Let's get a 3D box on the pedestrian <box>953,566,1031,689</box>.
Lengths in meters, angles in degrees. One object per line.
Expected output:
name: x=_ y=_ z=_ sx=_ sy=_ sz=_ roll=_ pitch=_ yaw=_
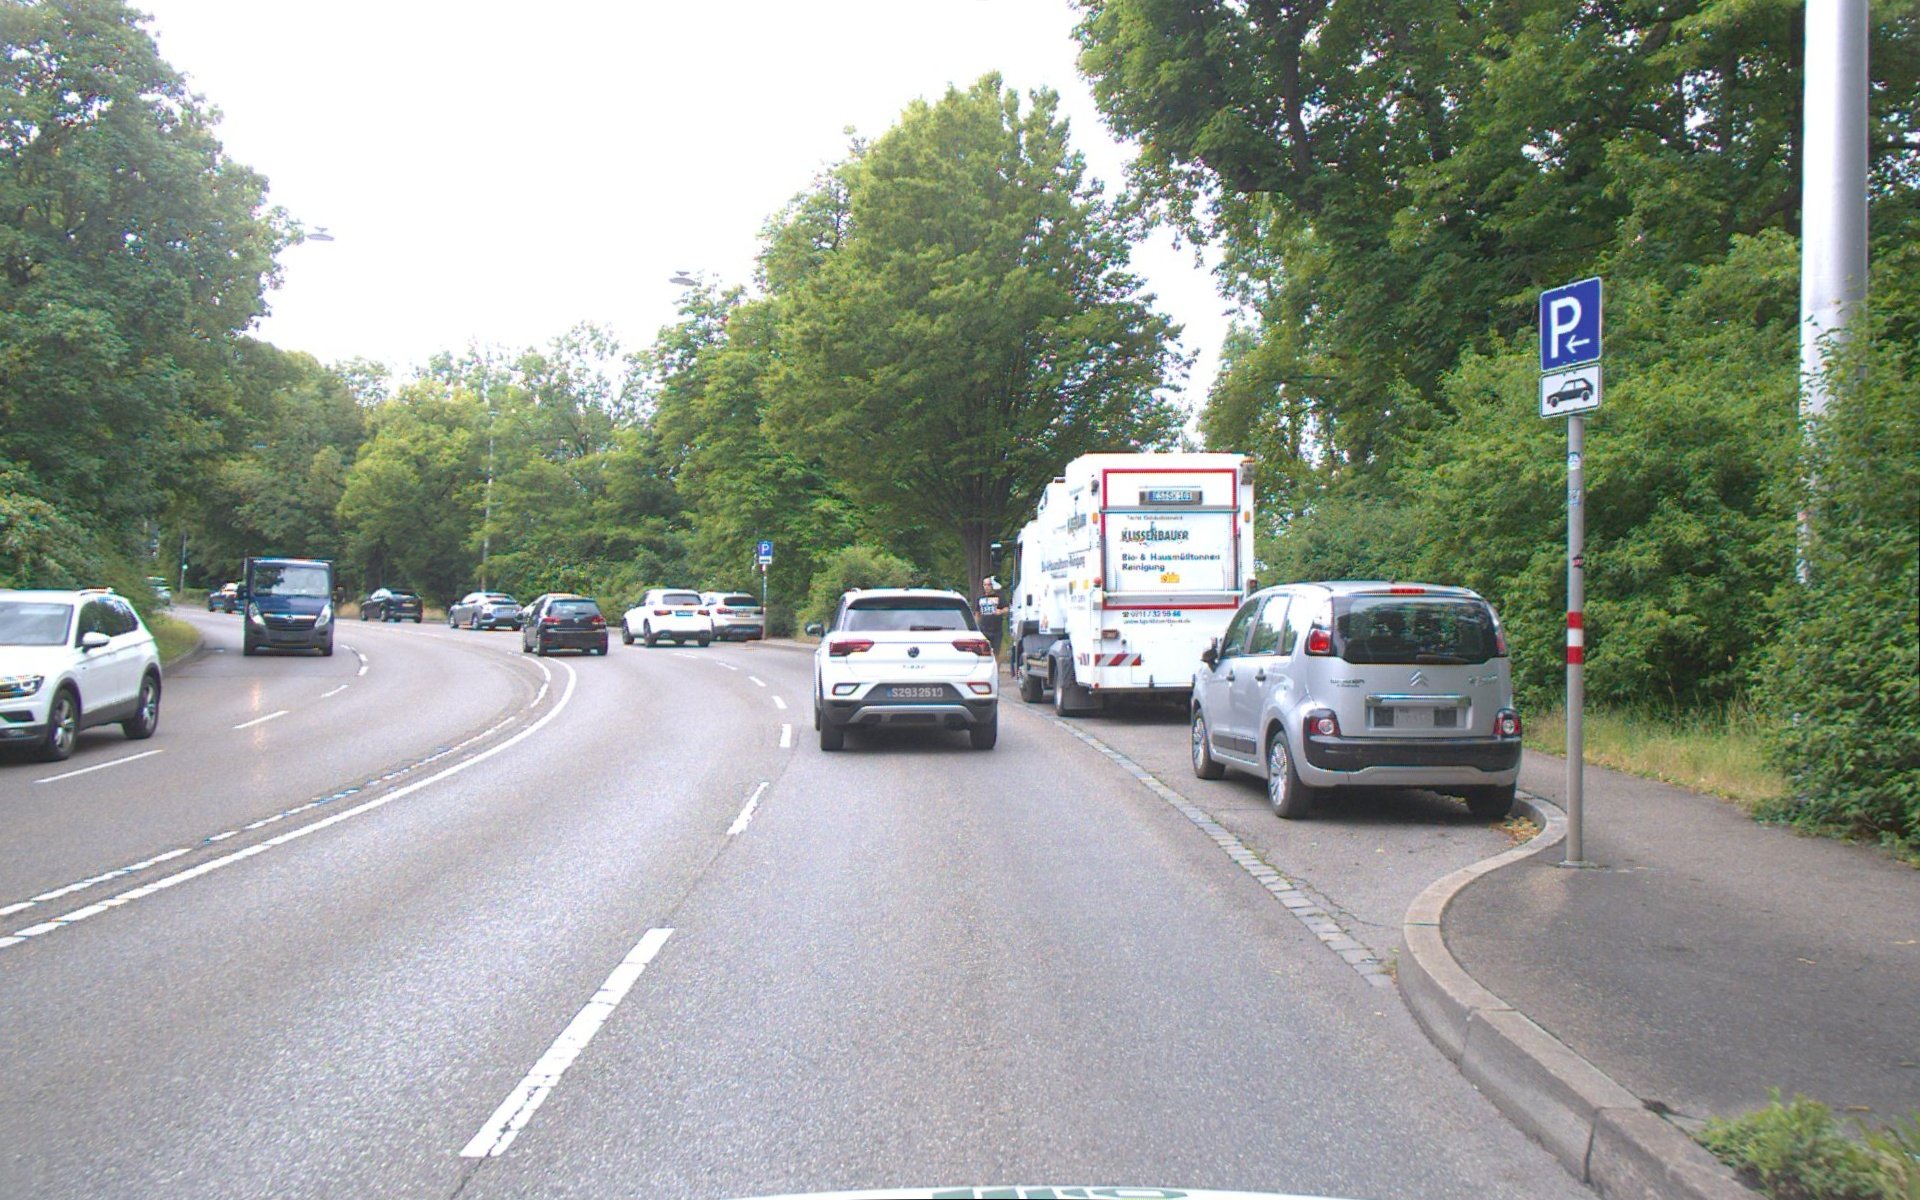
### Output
pedestrian: x=0.524 y=0.465 z=27.777 sx=0.900 sy=1.862 sz=0.984 roll=12 pitch=-1 yaw=-1

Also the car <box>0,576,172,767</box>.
car: x=-9.666 y=0.700 z=17.146 sx=1.825 sy=1.724 sz=4.418 roll=-2 pitch=0 yaw=-15

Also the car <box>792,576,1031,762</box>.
car: x=-0.638 y=0.645 z=17.332 sx=1.964 sy=1.624 sz=3.992 roll=3 pitch=-1 yaw=-9

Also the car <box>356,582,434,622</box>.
car: x=-24.475 y=0.098 z=71.768 sx=1.953 sy=1.595 sz=3.999 roll=3 pitch=-1 yaw=-1

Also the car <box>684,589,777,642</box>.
car: x=-7.726 y=0.497 z=55.393 sx=1.738 sy=1.681 sz=4.340 roll=0 pitch=0 yaw=-28

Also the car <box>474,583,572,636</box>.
car: x=-16.347 y=0.327 z=61.771 sx=1.981 sy=1.747 sz=3.942 roll=4 pitch=-1 yaw=-40

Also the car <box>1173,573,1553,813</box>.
car: x=2.920 y=0.617 z=12.891 sx=1.767 sy=1.551 sz=3.997 roll=-1 pitch=0 yaw=-4

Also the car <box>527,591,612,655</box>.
car: x=-10.057 y=0.567 z=42.415 sx=1.918 sy=1.491 sz=3.982 roll=2 pitch=0 yaw=-16

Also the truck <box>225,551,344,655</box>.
truck: x=-17.085 y=0.051 z=41.643 sx=2.136 sy=2.412 sz=6.616 roll=0 pitch=0 yaw=-28

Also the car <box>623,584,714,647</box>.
car: x=-8.610 y=0.410 z=48.607 sx=1.826 sy=1.732 sz=3.973 roll=-1 pitch=1 yaw=-22

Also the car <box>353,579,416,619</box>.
car: x=-26.536 y=-0.066 z=76.159 sx=1.750 sy=1.634 sz=3.954 roll=4 pitch=-1 yaw=-33

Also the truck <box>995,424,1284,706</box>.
truck: x=2.182 y=-0.414 z=22.895 sx=2.434 sy=3.237 sz=7.219 roll=-2 pitch=0 yaw=-6
